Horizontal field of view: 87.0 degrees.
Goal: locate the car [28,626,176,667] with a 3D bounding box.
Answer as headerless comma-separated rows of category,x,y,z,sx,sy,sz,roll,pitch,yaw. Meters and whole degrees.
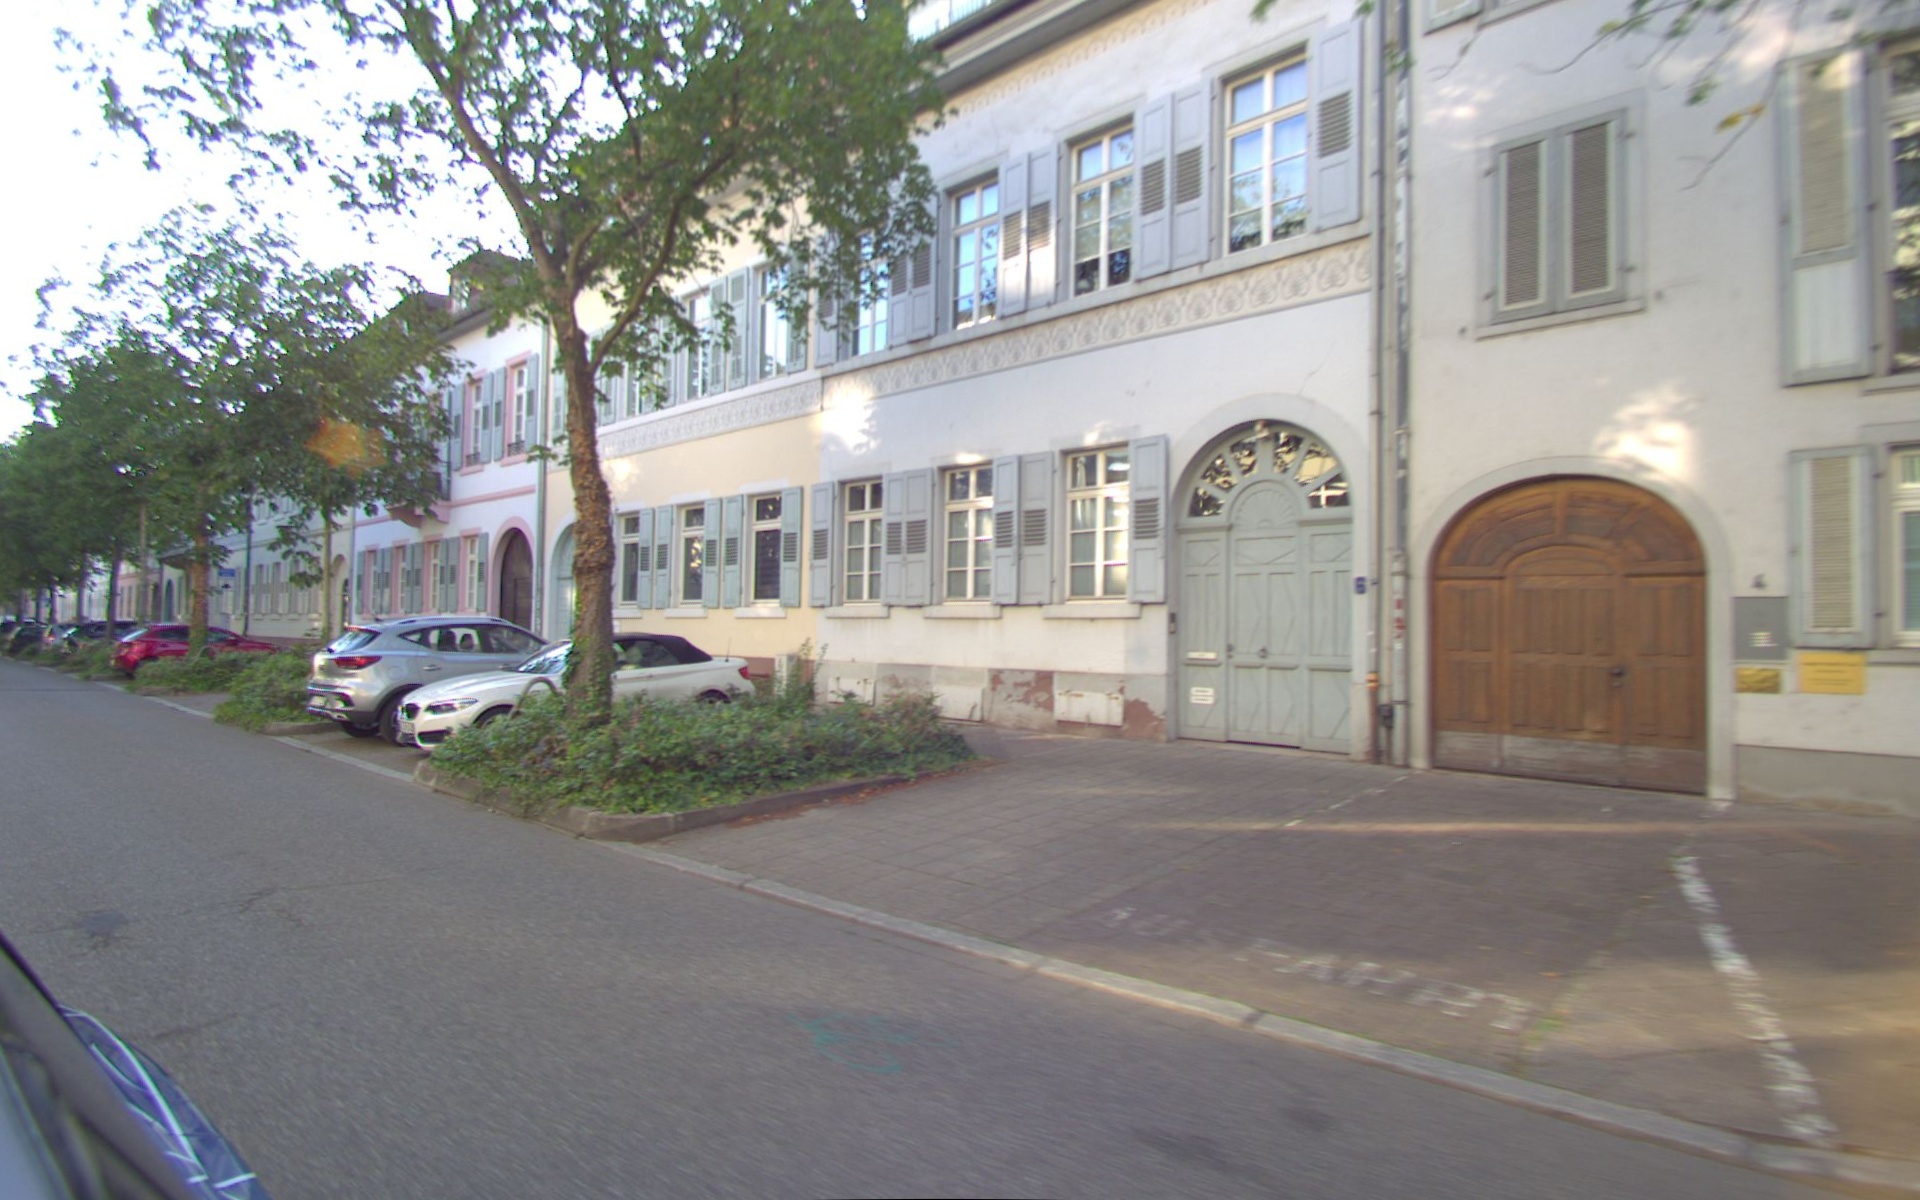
car,-33.700,1.847,39.840,1.758,1.529,4.176,-1,-3,40

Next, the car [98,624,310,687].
car,-19.979,1.460,26.879,1.799,1.519,4.176,-1,-3,40

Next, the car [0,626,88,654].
car,-50.834,2.220,55.596,1.968,1.488,4.176,-1,-3,40

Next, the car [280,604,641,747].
car,-6.863,1.007,14.285,1.799,1.703,4.176,-1,-3,40

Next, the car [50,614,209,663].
car,-30.140,1.427,36.847,1.799,1.677,4.176,-1,-3,40

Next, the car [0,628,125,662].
car,-41.731,2.119,47.068,1.852,1.488,4.176,-1,-3,40

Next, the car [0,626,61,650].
car,-60.947,2.432,65.275,1.968,1.488,4.176,-1,-3,40

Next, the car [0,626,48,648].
car,-67.096,2.590,71.122,1.968,1.528,4.176,-1,-3,40

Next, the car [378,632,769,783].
car,-4.659,1.223,12.635,4.170,1.557,1.802,3,-4,-44
